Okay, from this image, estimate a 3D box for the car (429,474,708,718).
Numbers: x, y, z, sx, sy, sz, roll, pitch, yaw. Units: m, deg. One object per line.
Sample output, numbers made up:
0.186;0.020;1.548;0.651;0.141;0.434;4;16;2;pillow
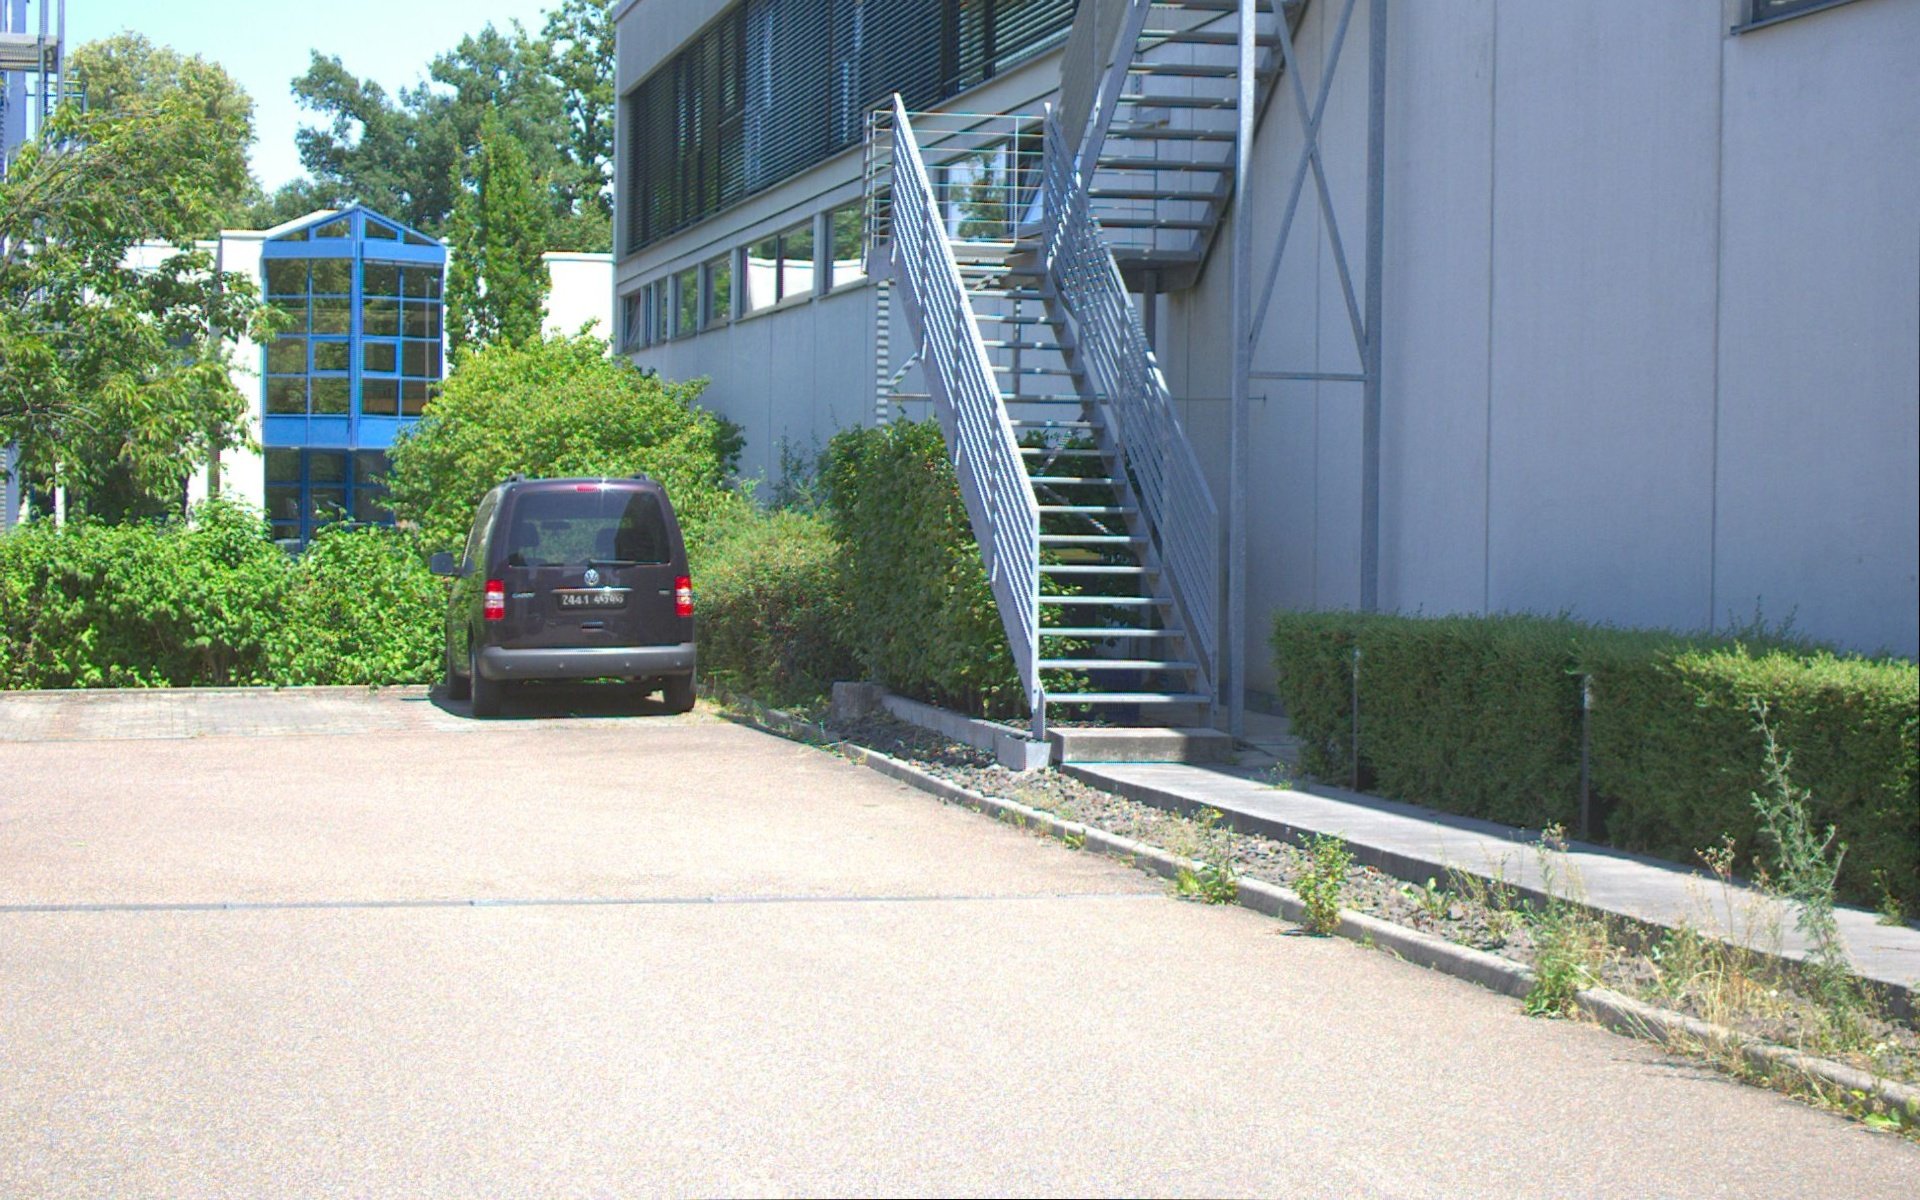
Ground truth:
-3.257;-0.098;27.975;1.742;1.830;4.001;-1;2;-14;car
